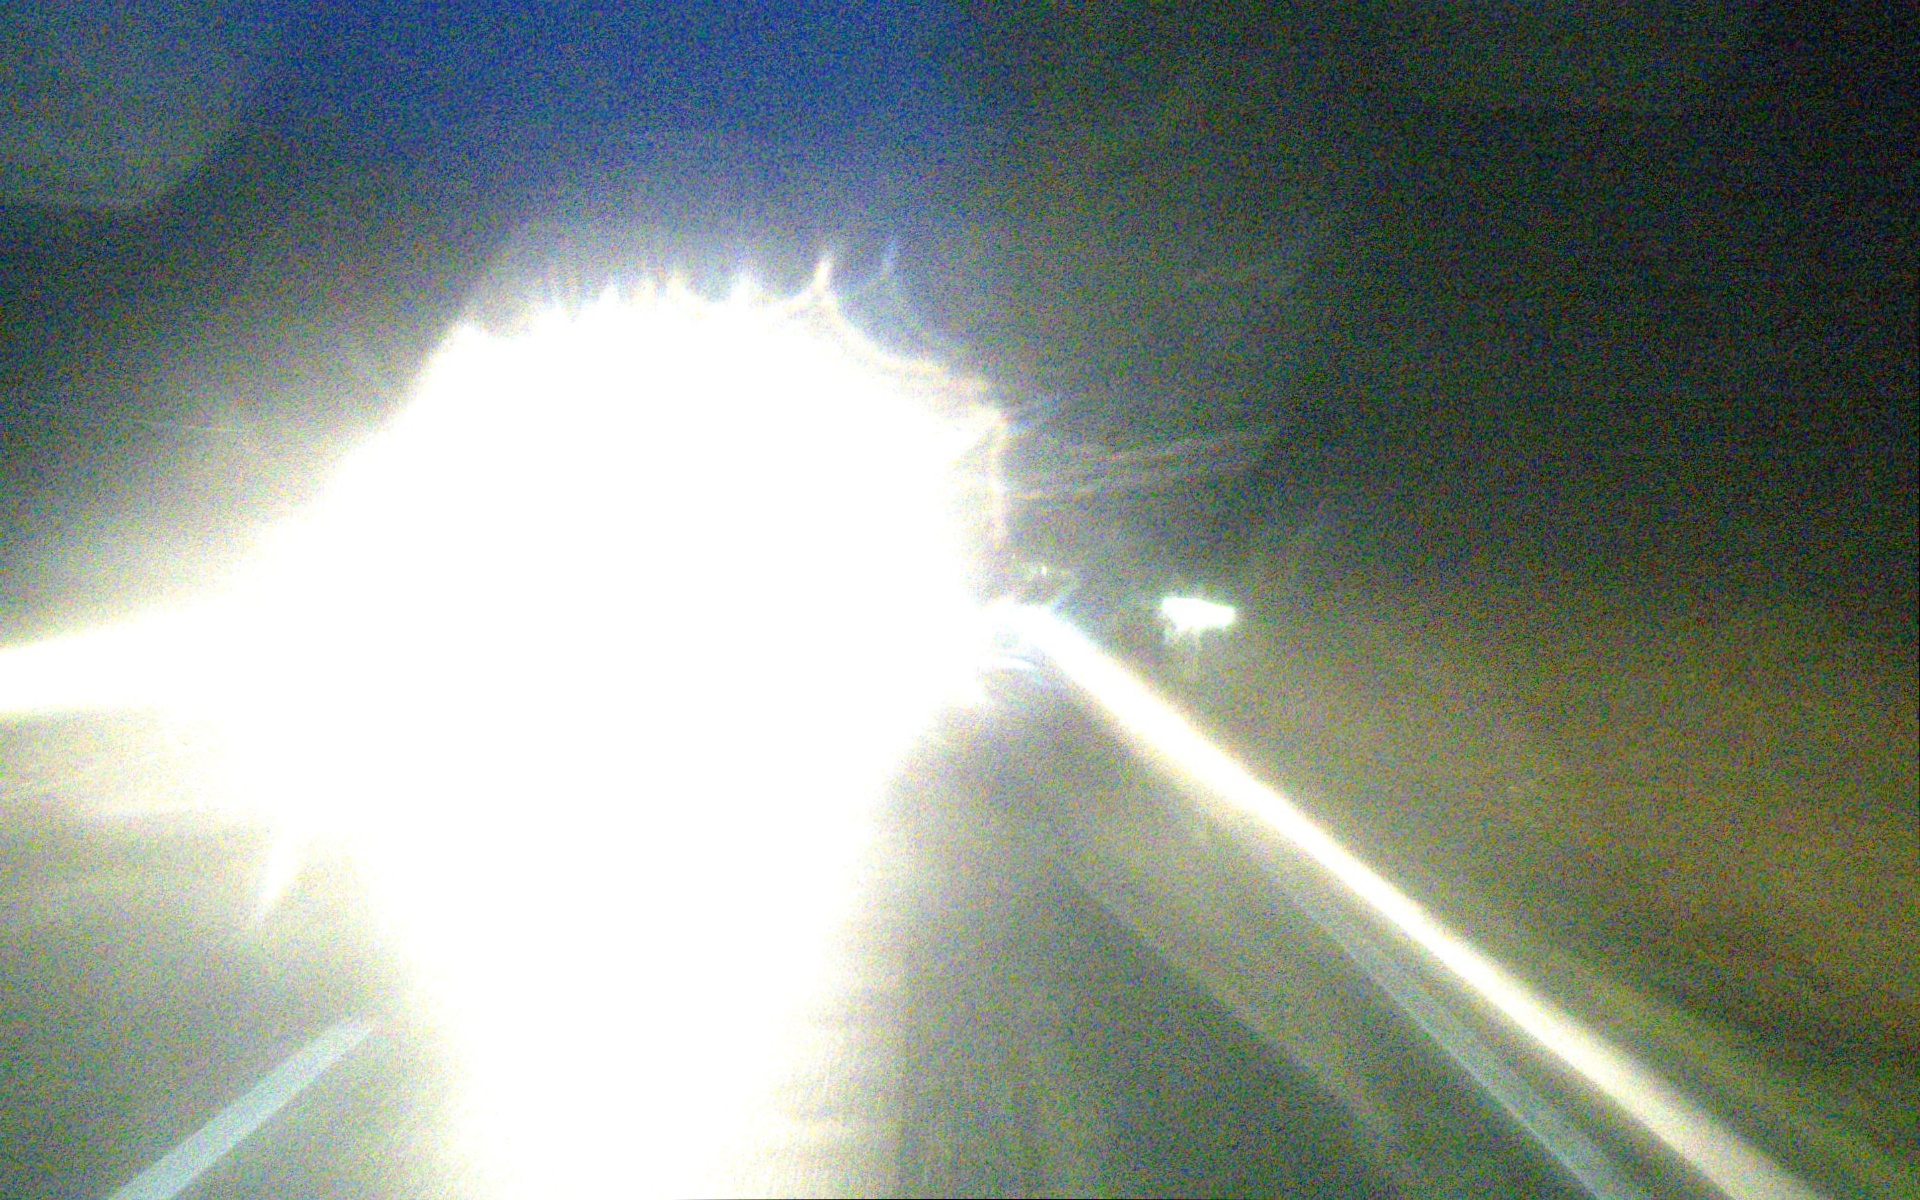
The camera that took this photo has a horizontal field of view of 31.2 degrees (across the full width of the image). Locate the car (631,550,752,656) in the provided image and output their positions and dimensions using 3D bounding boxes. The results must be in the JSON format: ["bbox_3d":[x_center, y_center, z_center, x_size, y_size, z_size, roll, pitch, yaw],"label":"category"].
[{"bbox_3d":[-4.579,0.012,58.349,1.931,1.581,4.001,-2,2,-5],"label":"car"}]

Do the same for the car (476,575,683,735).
[{"bbox_3d":[-4.021,0.550,36.860,1.828,1.451,3.794,-2,2,-1],"label":"car"}]

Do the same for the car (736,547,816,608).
[{"bbox_3d":[-4.473,-0.557,83.974,1.836,1.466,4.392,0,1,-1],"label":"car"}]
